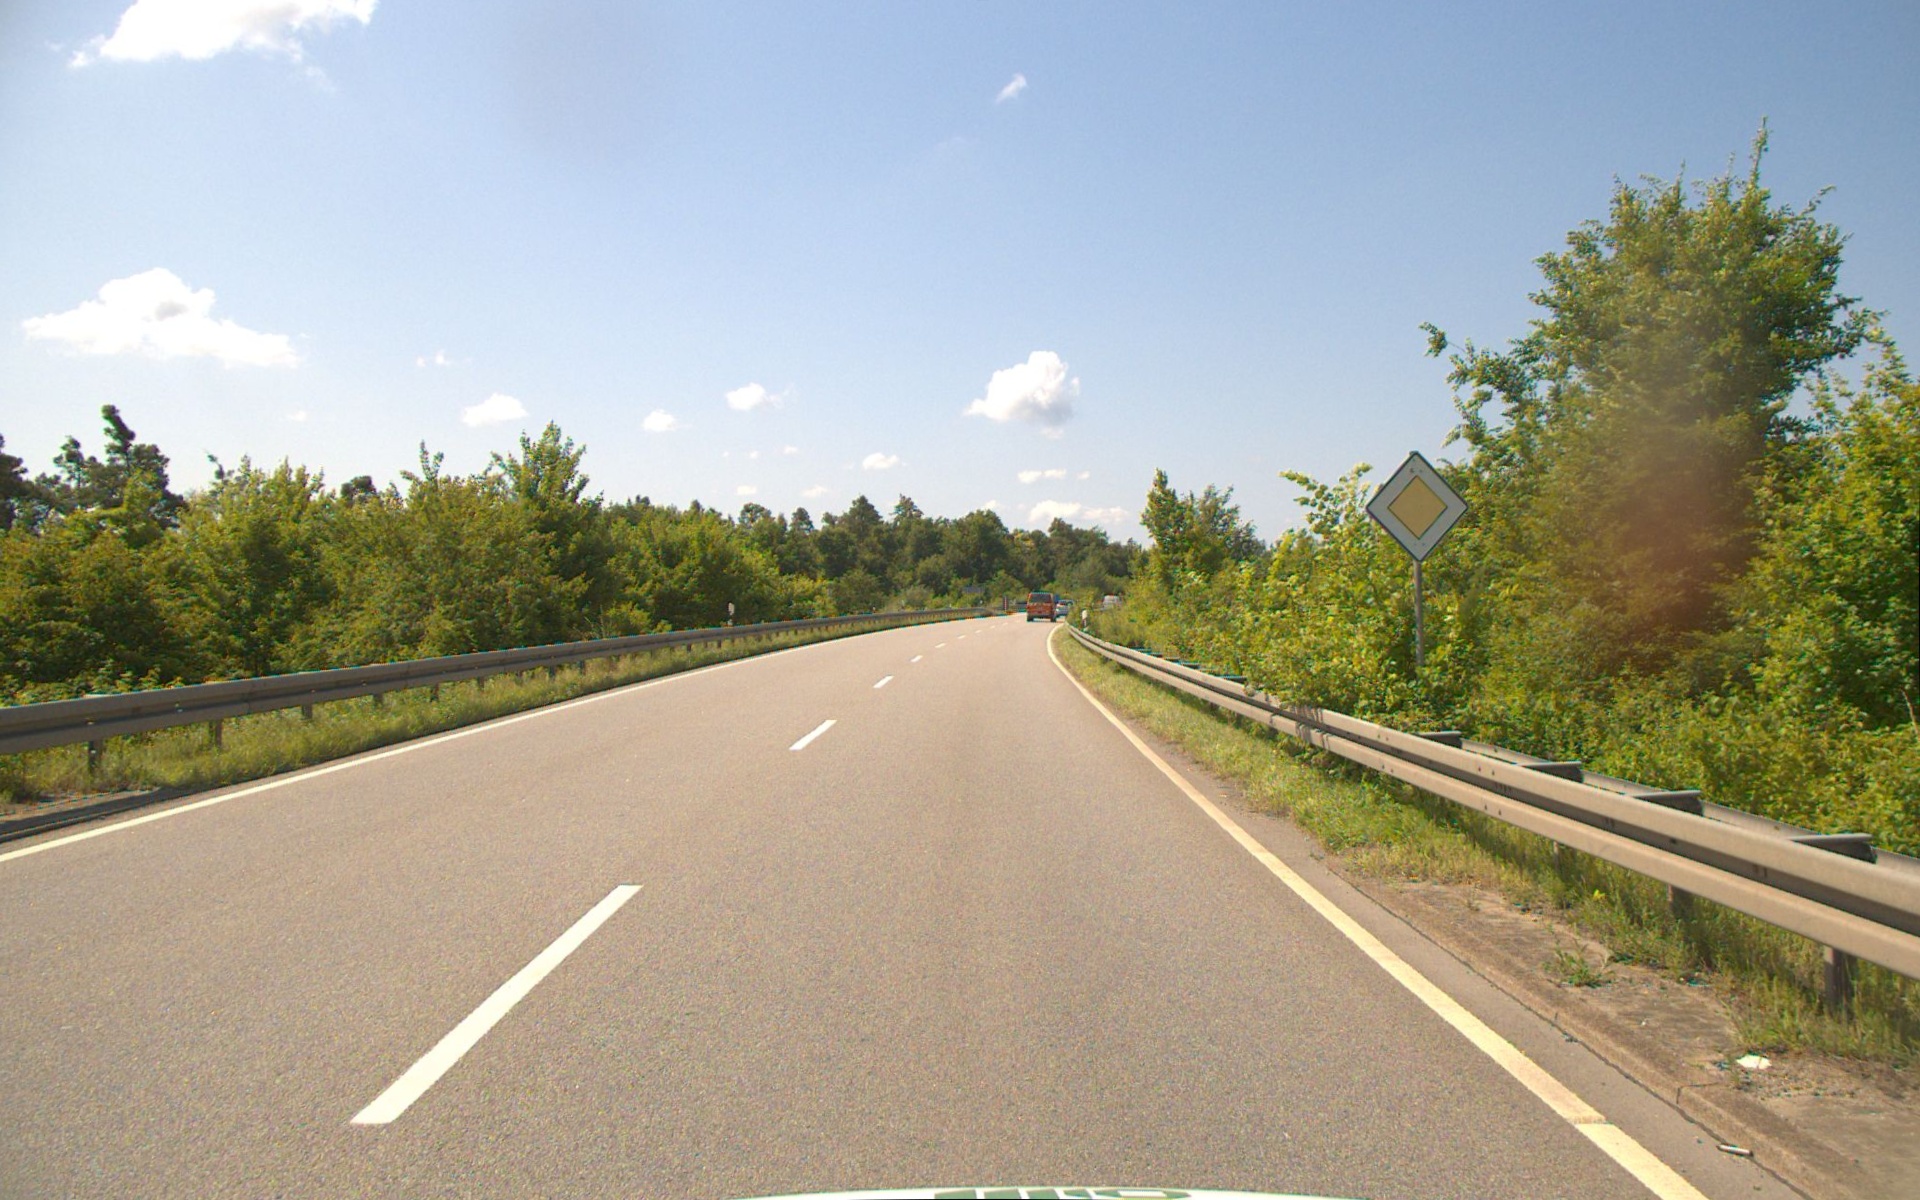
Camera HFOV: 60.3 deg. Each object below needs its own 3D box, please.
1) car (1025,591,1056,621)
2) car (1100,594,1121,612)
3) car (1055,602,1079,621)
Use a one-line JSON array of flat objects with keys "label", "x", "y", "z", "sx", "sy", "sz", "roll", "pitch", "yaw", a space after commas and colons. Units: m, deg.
[{"label": "car", "x": 5.544, "y": 0.443, "z": 114.331, "sx": 2.034, "sy": 2.028, "sz": 5.113, "roll": 1, "pitch": -1, "yaw": 2}, {"label": "car", "x": 17.746, "y": 0.385, "z": 195.161, "sx": 2.139, "sy": 1.989, "sz": 5.805, "roll": 2, "pitch": 0, "yaw": 3}, {"label": "car", "x": 8.923, "y": 0.956, "z": 137.697, "sx": 1.965, "sy": 1.520, "sz": 4.240, "roll": 1, "pitch": -1, "yaw": 4}]
